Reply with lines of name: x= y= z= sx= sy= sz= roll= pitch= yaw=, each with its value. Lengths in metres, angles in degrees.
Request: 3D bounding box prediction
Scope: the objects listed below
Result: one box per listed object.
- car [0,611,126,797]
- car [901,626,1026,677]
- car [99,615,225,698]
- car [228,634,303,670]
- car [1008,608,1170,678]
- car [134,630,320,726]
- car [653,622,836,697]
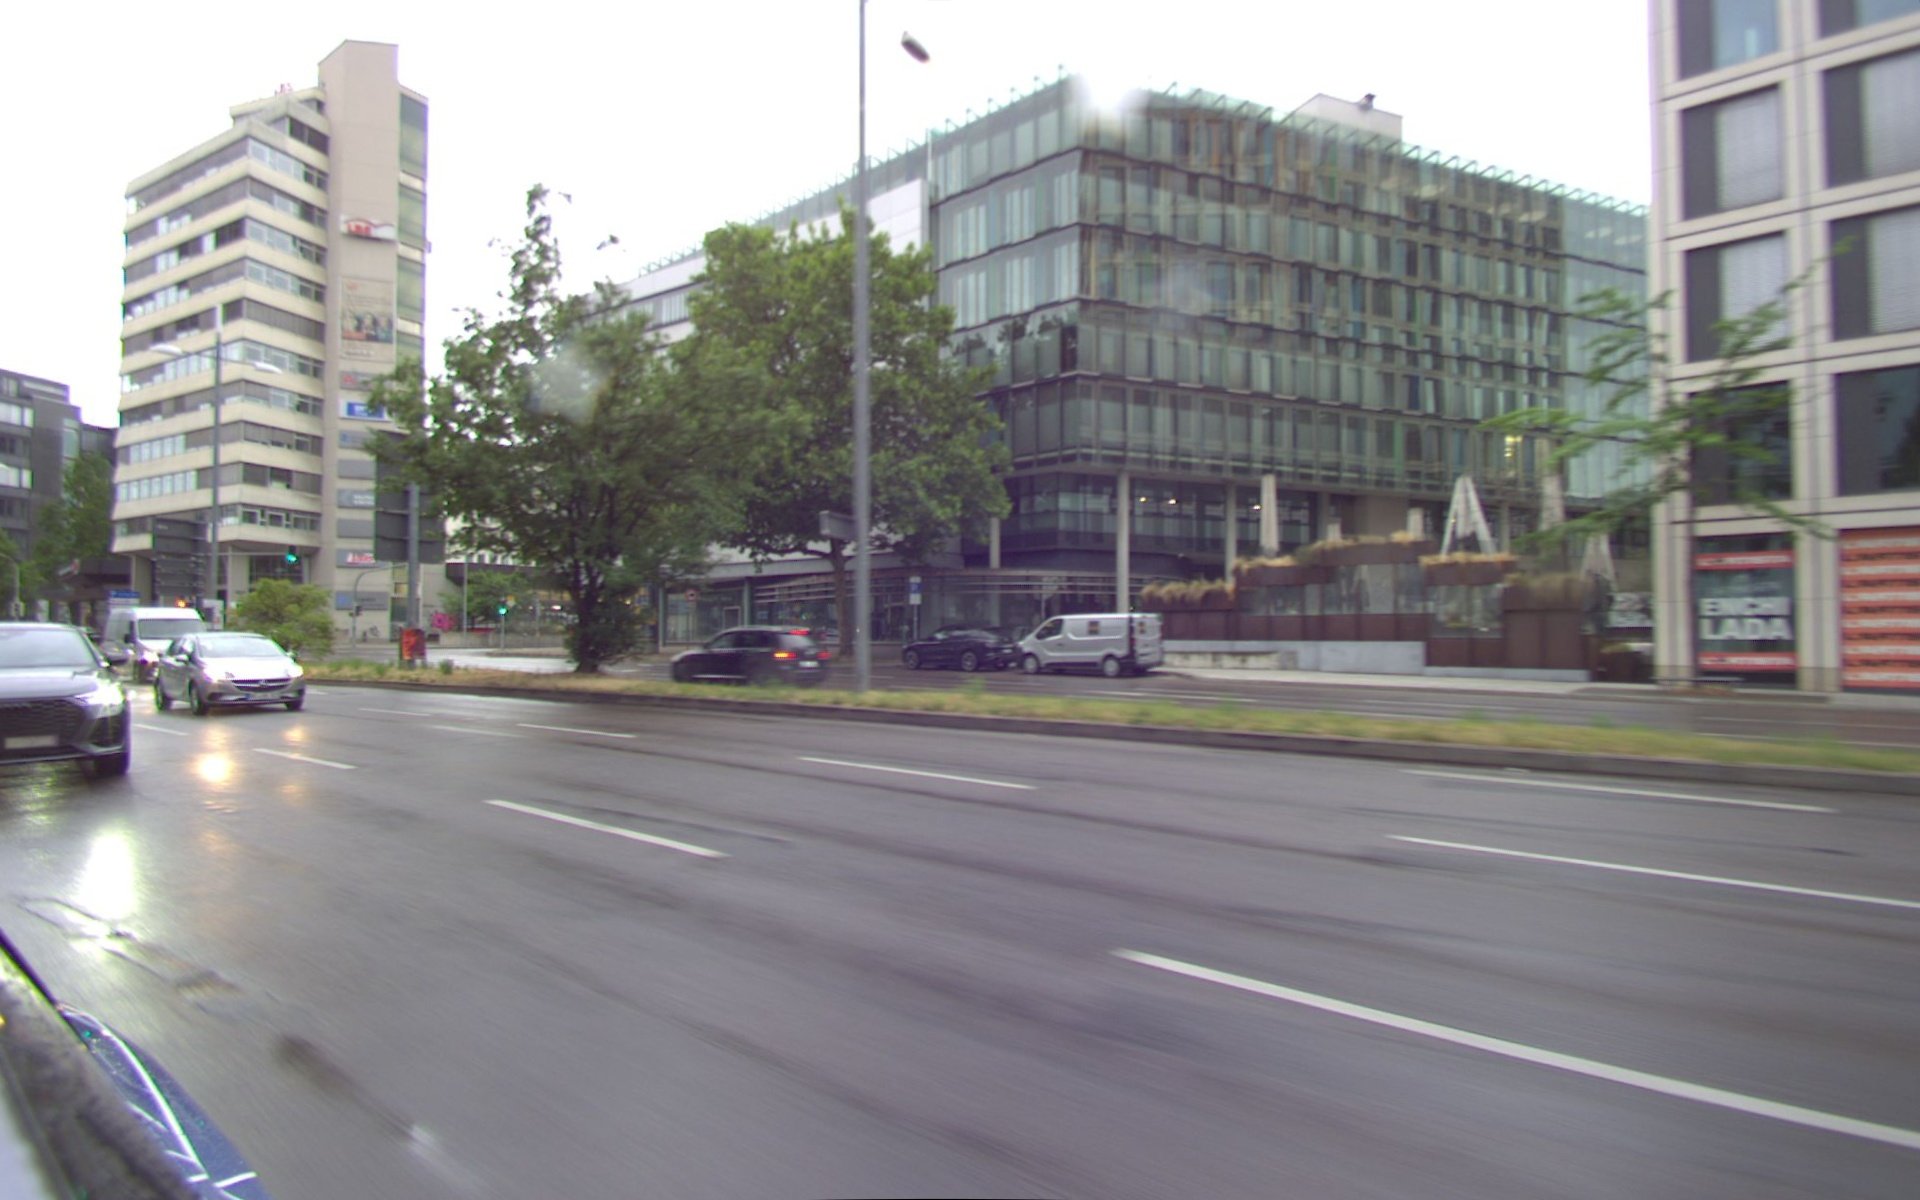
car: x=-9.874 y=0.929 z=10.499 sx=1.775 sy=1.563 sz=4.394 roll=0 pitch=0 yaw=-41
car: x=0.083 y=1.770 z=35.826 sx=4.284 sy=1.540 sz=1.779 roll=0 pitch=0 yaw=41
car: x=-26.630 y=1.765 z=33.678 sx=5.716 sy=2.403 sz=2.230 roll=0 pitch=0 yaw=40
car: x=-32.921 y=2.435 z=47.918 sx=3.964 sy=1.475 sz=1.736 roll=0 pitch=0 yaw=36
car: x=4.066 y=1.305 z=32.504 sx=4.913 sy=2.029 sz=1.973 roll=0 pitch=0 yaw=41
car: x=-13.866 y=1.377 z=19.075 sx=4.121 sy=1.490 sz=1.753 roll=0 pitch=0 yaw=38
car: x=-5.599 y=1.454 z=26.021 sx=4.865 sy=1.644 sz=1.809 roll=0 pitch=0 yaw=36
